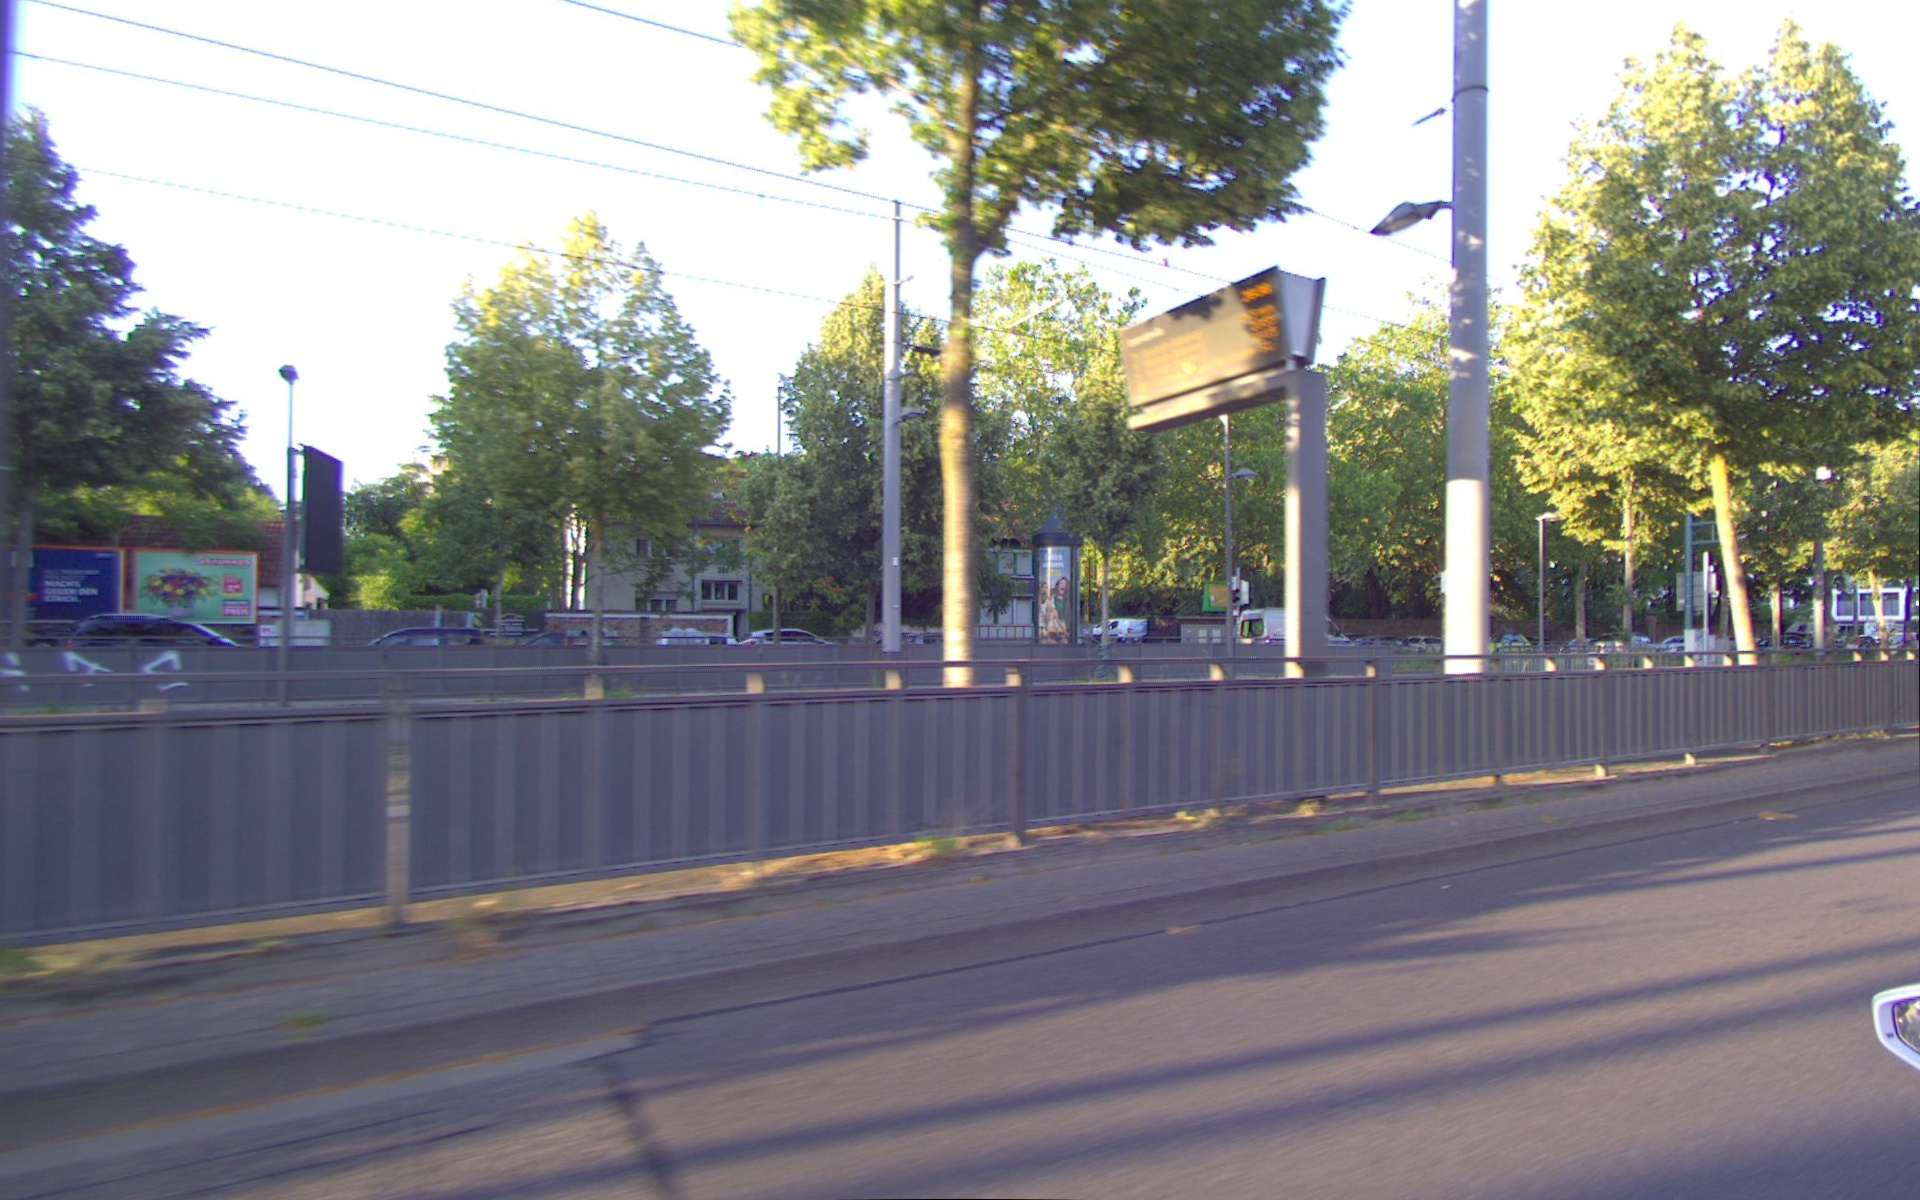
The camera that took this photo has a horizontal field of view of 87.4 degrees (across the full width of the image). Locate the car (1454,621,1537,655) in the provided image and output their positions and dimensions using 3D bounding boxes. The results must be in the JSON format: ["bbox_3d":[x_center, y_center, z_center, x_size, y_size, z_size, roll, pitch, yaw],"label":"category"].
[{"bbox_3d":[27.550,1.942,51.700,3.952,1.661,1.985,1,-2,-29],"label":"car"}]

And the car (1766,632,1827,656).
[{"bbox_3d":[57.454,3.007,68.995,3.785,1.581,1.798,1,-2,-25],"label":"car"}]

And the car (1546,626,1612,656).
[{"bbox_3d":[42.581,2.802,69.091,3.943,2.040,1.989,1,-1,-23],"label":"car"}]

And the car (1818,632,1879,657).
[{"bbox_3d":[64.751,3.202,73.148,4.735,1.773,1.984,1,-2,-31],"label":"car"}]

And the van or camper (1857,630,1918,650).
[{"bbox_3d":[86.951,3.732,94.199,1.983,1.815,3.955,1,-2,-39],"label":"van or camper"}]

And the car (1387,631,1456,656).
[{"bbox_3d":[28.797,2.684,62.658,3.997,1.511,1.854,1,-2,-27],"label":"car"}]

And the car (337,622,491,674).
[{"bbox_3d":[-16.403,1.410,30.346,3.950,1.468,1.985,1,-1,-29],"label":"car"}]

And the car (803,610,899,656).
[{"bbox_3d":[-5.007,1.494,46.099,3.947,2.040,1.987,1,-1,-26],"label":"car"}]

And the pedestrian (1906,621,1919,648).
[{"bbox_3d":[65.792,2.381,69.241,0.858,1.895,0.688,1,-2,-37],"label":"pedestrian"}]

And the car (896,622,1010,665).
[{"bbox_3d":[-0.254,1.621,38.357,4.003,1.551,1.802,1,-1,-29],"label":"car"}]

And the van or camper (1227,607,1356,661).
[{"bbox_3d":[15.319,1.553,46.347,5.704,2.396,2.277,1,-1,-25],"label":"van or camper"}]

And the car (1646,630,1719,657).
[{"bbox_3d":[42.796,2.576,59.490,4.254,1.519,1.892,1,-2,-29],"label":"car"}]

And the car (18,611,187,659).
[{"bbox_3d":[-29.238,1.182,34.422,3.946,1.572,1.988,1,-1,-25],"label":"car"}]

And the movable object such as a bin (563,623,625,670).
[{"bbox_3d":[-11.711,1.468,32.116,1.680,1.430,1.403,1,-1,-28],"label":"movable object such as a bin"}]

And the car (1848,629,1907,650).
[{"bbox_3d":[69.260,2.993,75.824,3.948,1.505,1.987,1,-2,-27],"label":"car"}]

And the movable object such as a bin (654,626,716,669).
[{"bbox_3d":[-9.135,1.560,33.360,1.703,1.390,1.546,1,-1,-28],"label":"movable object such as a bin"}]

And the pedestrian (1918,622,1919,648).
[{"bbox_3d":[65.709,2.406,68.269,0.856,1.766,0.689,1,-2,-32],"label":"pedestrian"}]

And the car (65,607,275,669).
[{"bbox_3d":[-21.678,1.037,27.826,4.244,1.606,1.985,1,-1,-29],"label":"car"}]

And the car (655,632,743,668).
[{"bbox_3d":[-11.173,2.107,42.963,3.364,1.449,1.639,1,-2,-29],"label":"car"}]

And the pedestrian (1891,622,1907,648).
[{"bbox_3d":[65.056,2.442,69.598,0.858,1.782,0.688,1,-2,-37],"label":"pedestrian"}]

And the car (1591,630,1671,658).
[{"bbox_3d":[37.856,2.462,56.657,4.502,1.518,1.985,1,-2,-29],"label":"car"}]

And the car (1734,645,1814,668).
[{"bbox_3d":[51.519,3.547,63.580,5.074,1.332,1.987,1,-2,-26],"label":"car"}]

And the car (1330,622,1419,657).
[{"bbox_3d":[20.123,1.899,48.744,4.162,1.658,1.983,1,-2,-31],"label":"car"}]

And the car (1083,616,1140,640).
[{"bbox_3d":[11.547,2.144,76.493,3.953,1.773,1.984,1,-1,-30],"label":"car"}]

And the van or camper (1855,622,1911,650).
[{"bbox_3d":[105.478,4.090,114.746,6.179,3.126,2.701,1,-1,-26],"label":"van or camper"}]

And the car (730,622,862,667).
[{"bbox_3d":[-5.823,1.544,35.657,4.245,1.520,1.985,1,-1,-29],"label":"car"}]

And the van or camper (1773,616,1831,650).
[{"bbox_3d":[69.991,2.762,83.512,5.433,2.771,2.074,1,-2,-32],"label":"van or camper"}]

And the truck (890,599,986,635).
[{"bbox_3d":[-1.055,0.841,48.812,4.237,1.712,1.987,1,-1,-27],"label":"truck"}]
